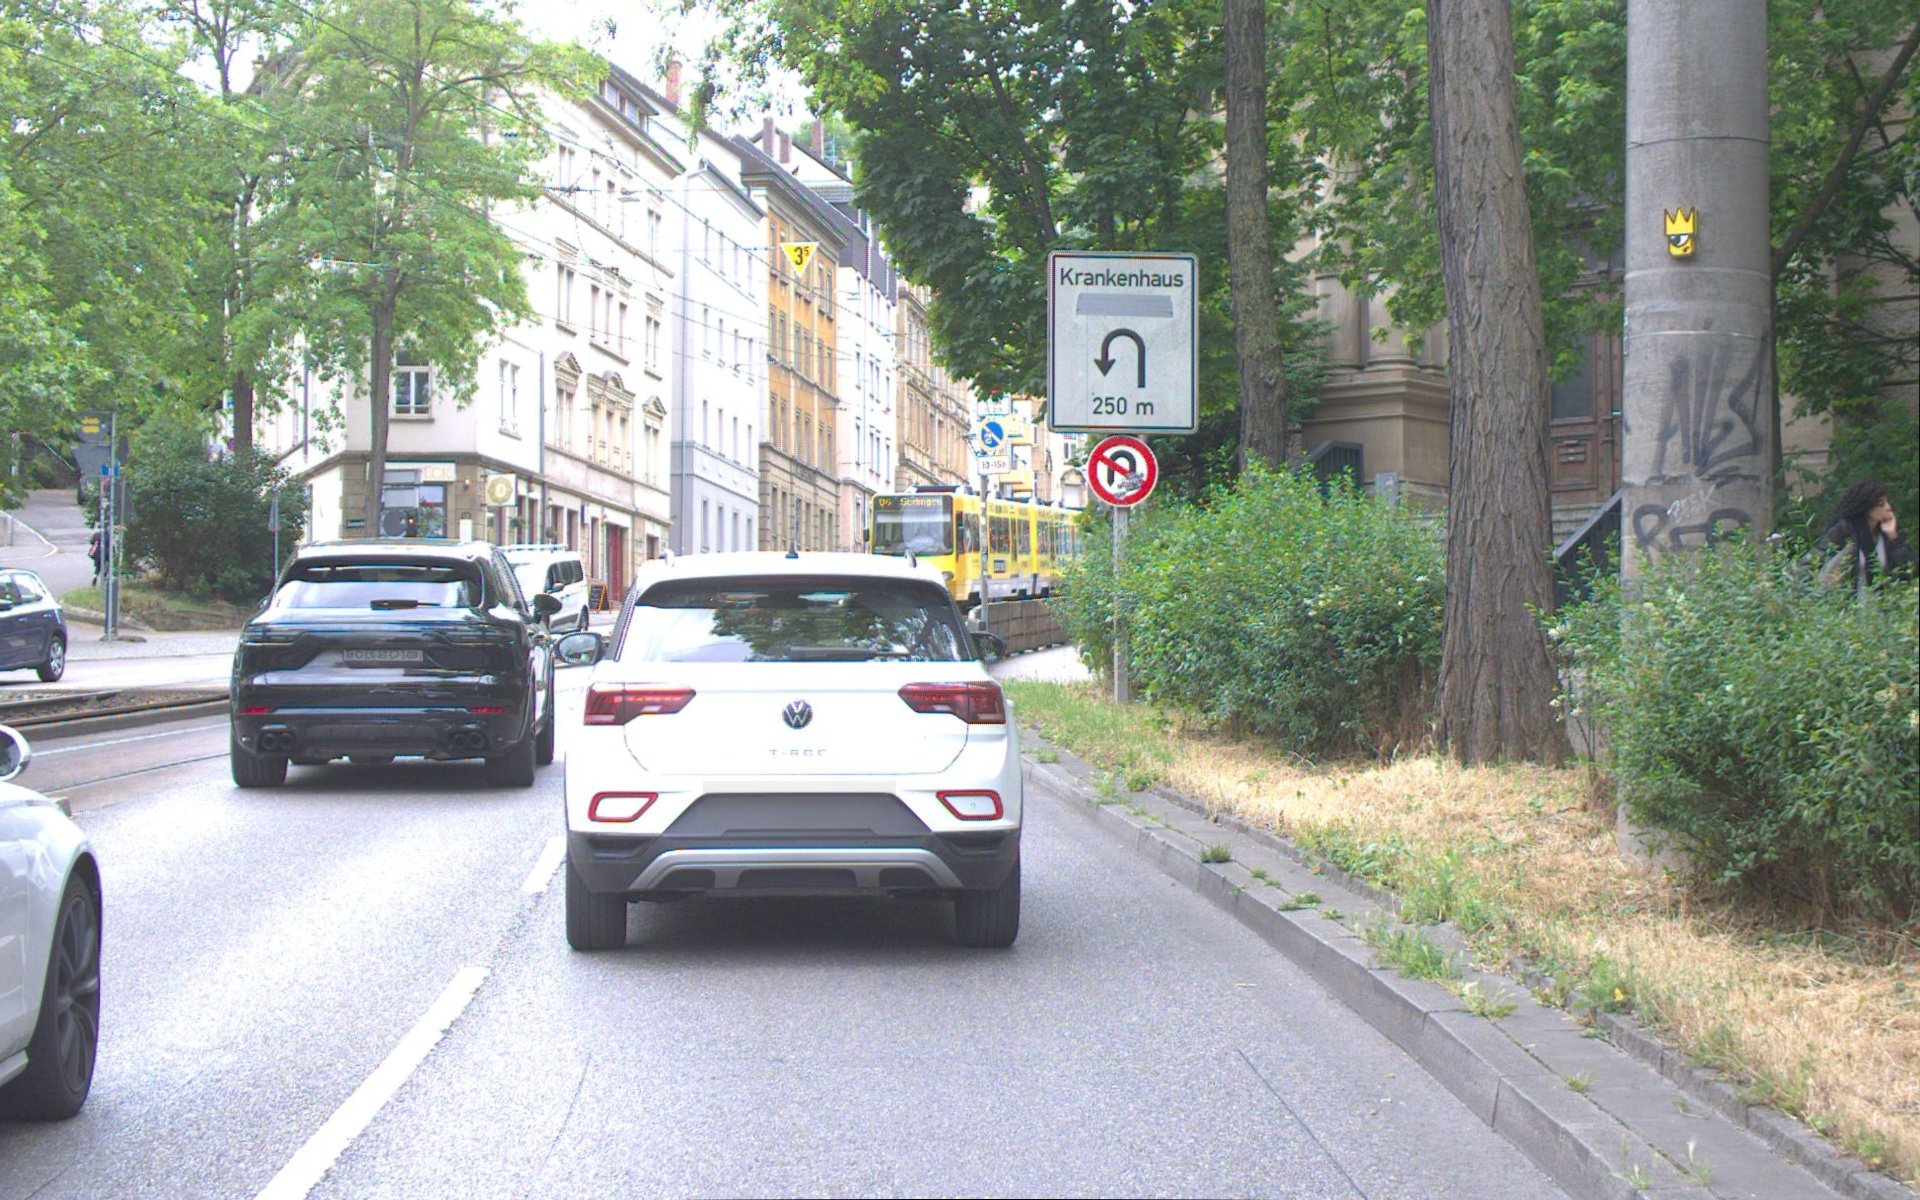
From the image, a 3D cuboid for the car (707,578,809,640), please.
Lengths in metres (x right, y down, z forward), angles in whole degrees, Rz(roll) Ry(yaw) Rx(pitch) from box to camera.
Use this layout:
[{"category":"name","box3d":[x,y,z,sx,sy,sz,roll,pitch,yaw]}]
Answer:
[{"category":"car","box3d":[-5.212,0.215,89.300,1.994,1.547,3.999,-1,0,6]}]

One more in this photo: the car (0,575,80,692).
[{"category":"car","box3d":[-12.392,0.406,42.256,1.766,1.403,4.082,-1,0,5]}]

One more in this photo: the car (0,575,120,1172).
[{"category":"car","box3d":[-3.242,0.674,7.423,1.878,1.450,4.618,0,0,-2]}]

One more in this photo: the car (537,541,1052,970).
[{"category":"car","box3d":[-0.819,0.552,14.555,1.878,1.549,4.001,0,0,-6]}]

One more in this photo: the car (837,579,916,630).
[{"category":"car","box3d":[-2.617,0.122,108.696,1.994,1.547,3.999,-1,0,6]}]

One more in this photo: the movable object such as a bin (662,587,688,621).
[{"category":"movable object such as a bin","box3d":[-9.002,0.136,108.537,0.687,1.070,0.676,0,0,8]}]

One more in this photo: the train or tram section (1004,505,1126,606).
[{"category":"train or tram section","box3d":[4.375,-1.728,138.090,2.877,3.713,18.750,1,0,8]}]

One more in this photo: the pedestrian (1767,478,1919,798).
[{"category":"pedestrian","box3d":[4.882,0.198,18.717,0.771,1.697,0.785,-1,0,0]}]

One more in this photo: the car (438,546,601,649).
[{"category":"car","box3d":[-8.564,-0.091,67.339,1.948,1.939,5.001,0,1,8]}]

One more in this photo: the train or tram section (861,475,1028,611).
[{"category":"train or tram section","box3d":[-0.286,-1.622,102.937,2.883,3.713,14.851,1,0,8]}]

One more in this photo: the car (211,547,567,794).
[{"category":"car","box3d":[-3.893,0.438,24.132,2.037,1.566,4.359,0,0,-4]}]

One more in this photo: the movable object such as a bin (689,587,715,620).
[{"category":"movable object such as a bin","box3d":[-8.457,0.117,112.741,0.728,1.070,0.671,0,0,8]}]
